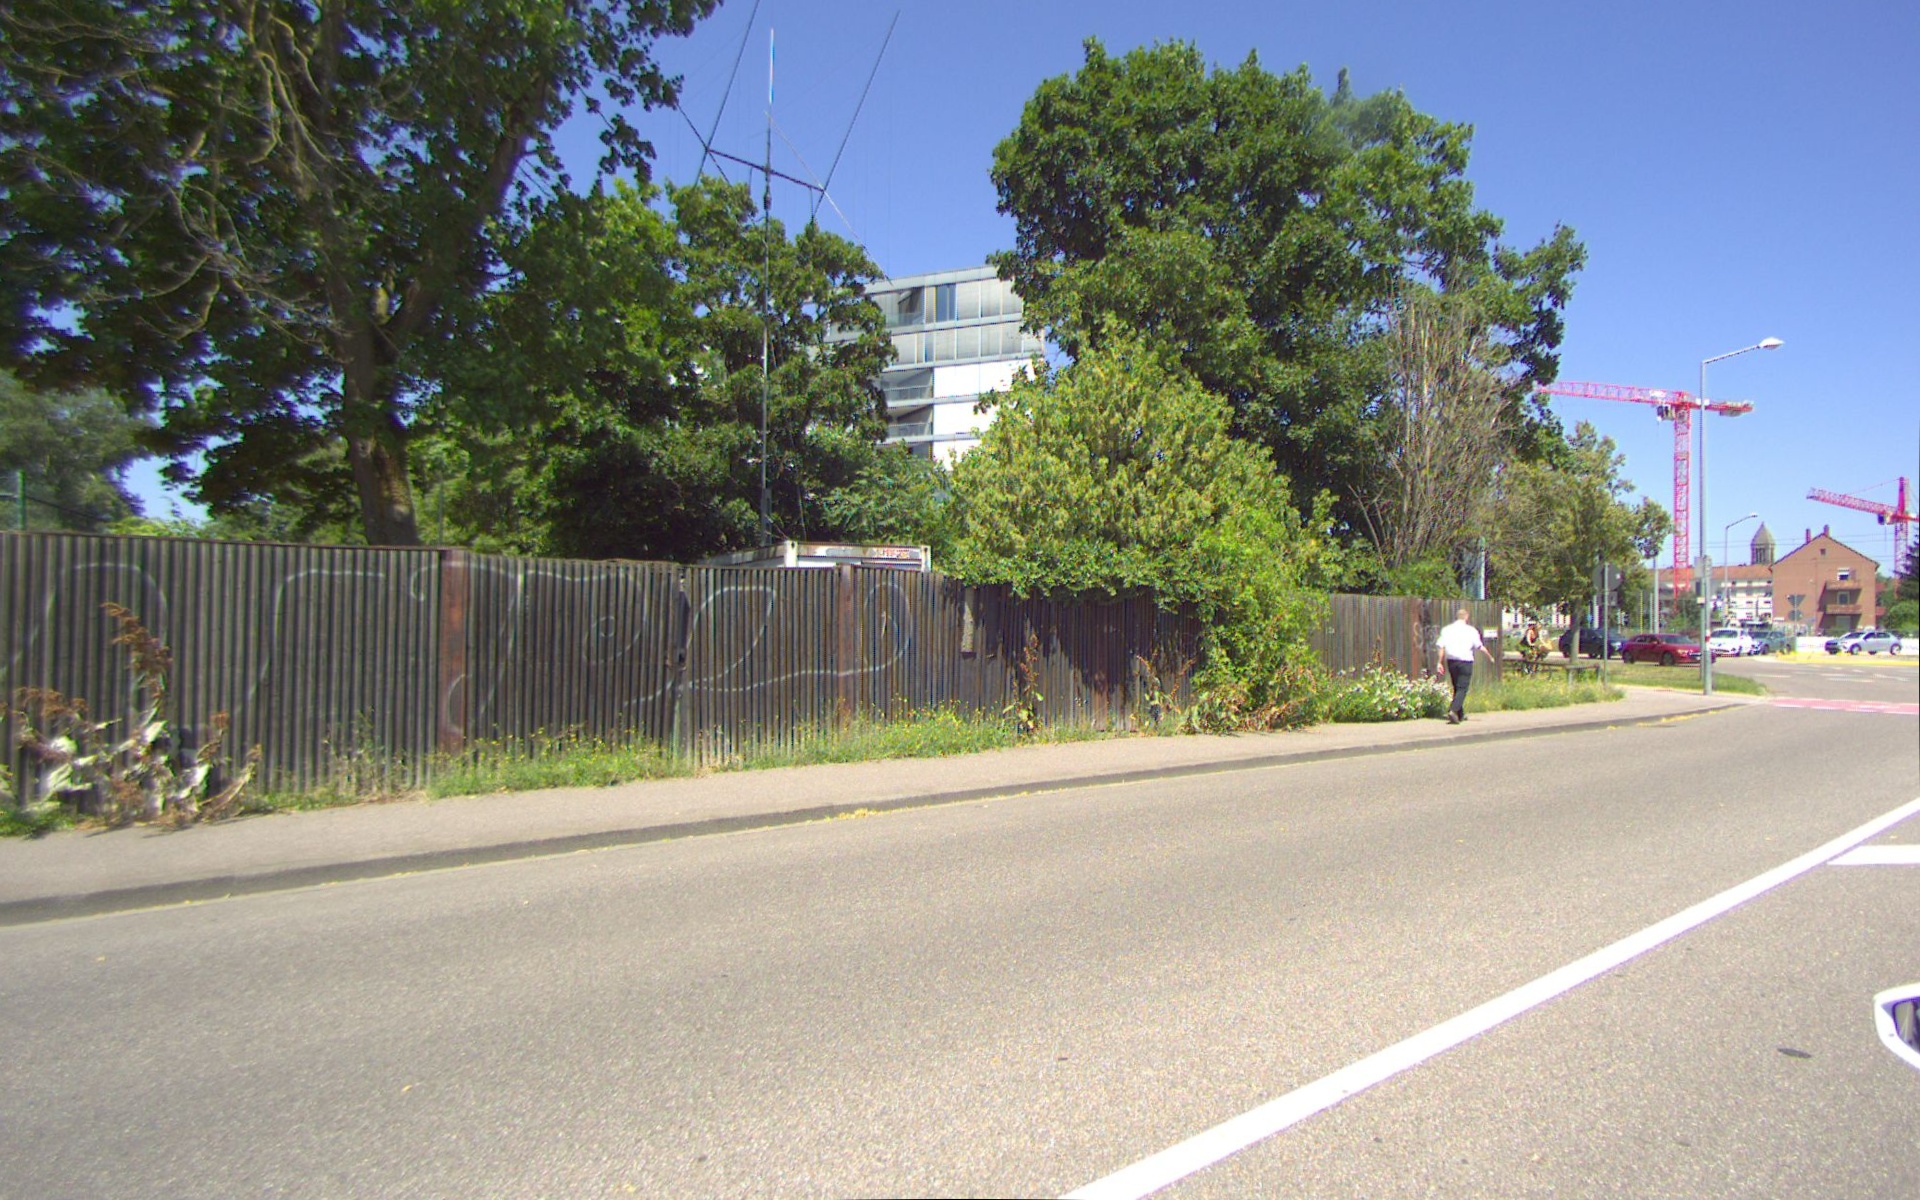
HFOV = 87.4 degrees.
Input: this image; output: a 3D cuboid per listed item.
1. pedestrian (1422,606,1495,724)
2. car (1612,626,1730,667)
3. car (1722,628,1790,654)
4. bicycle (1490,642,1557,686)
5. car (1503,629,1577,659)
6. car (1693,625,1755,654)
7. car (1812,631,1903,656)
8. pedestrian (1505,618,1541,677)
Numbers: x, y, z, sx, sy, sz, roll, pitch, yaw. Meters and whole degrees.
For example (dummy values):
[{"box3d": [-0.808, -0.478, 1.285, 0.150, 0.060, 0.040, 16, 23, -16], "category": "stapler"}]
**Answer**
[{"box3d": [7.921, 1.015, 15.964, 0.960, 1.810, 0.631, 2, 0, -37], "category": "pedestrian"}, {"box3d": [31.374, 2.022, 44.485, 1.961, 1.547, 4.418, 2, 0, -2], "category": "car"}, {"box3d": [46.774, 2.404, 59.014, 4.282, 1.390, 1.737, 2, 0, -31], "category": "car"}, {"box3d": [16.897, 1.904, 30.168, 0.604, 1.247, 1.841, 2, -3, -19], "category": "bicycle"}, {"box3d": [36.170, 2.724, 62.778, 1.961, 1.617, 4.418, 2, 0, -2], "category": "car"}, {"box3d": [42.215, 2.145, 55.510, 3.837, 1.547, 1.763, 1, -2, -37], "category": "car"}, {"box3d": [55.675, 2.690, 62.368, 4.188, 1.421, 1.732, 2, 0, -3], "category": "car"}, {"box3d": [16.899, 1.421, 30.151, 0.566, 1.714, 0.731, 2, 0, -20], "category": "pedestrian"}]
